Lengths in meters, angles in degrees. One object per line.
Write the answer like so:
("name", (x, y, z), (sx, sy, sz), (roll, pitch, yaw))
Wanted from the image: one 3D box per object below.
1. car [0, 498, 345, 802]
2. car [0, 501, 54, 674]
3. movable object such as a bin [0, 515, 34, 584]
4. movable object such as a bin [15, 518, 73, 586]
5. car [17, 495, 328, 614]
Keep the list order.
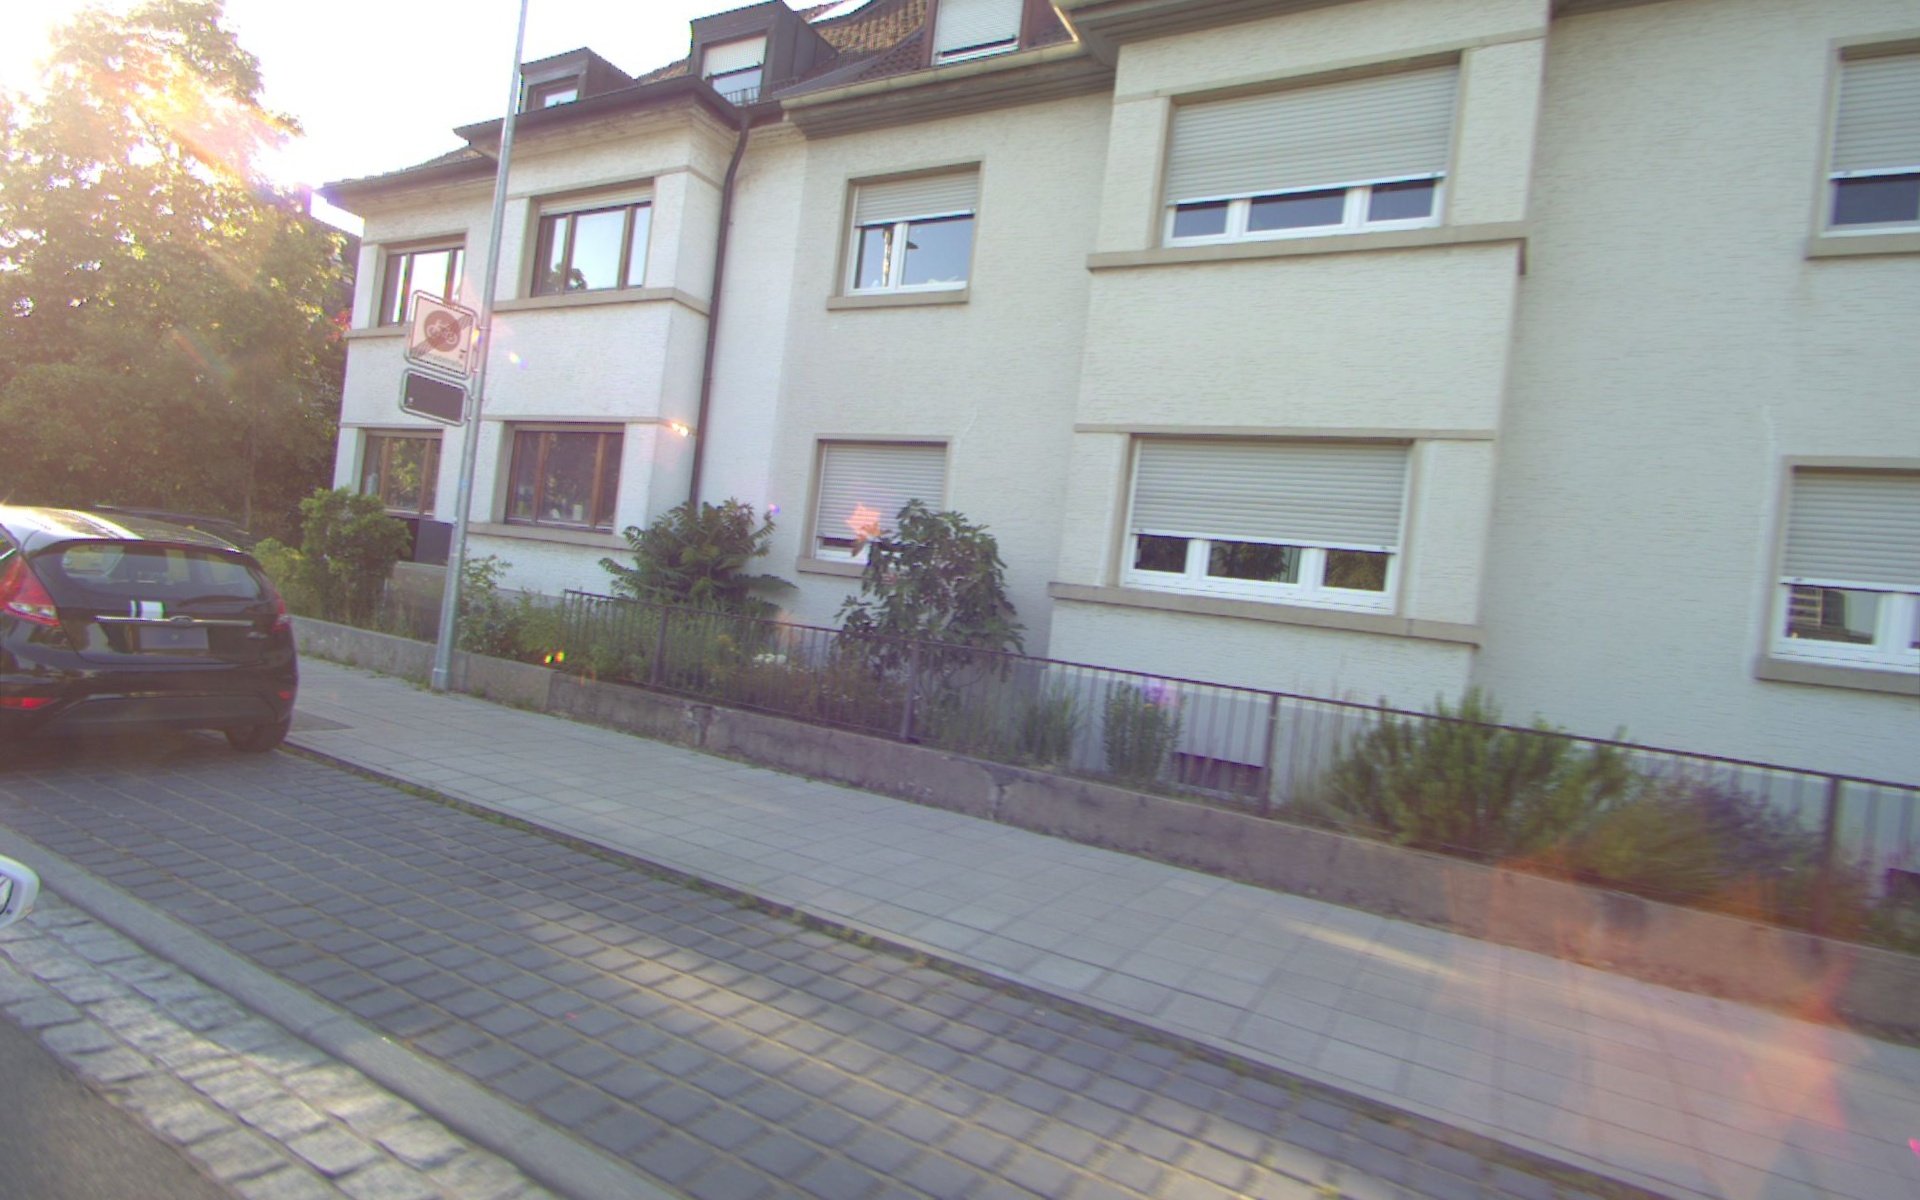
("car", (-6.160, 0.117, 6.745), (3.915, 1.491, 1.720), (7, 2, 29))
("car", (-10.388, -0.355, 9.215), (4.182, 1.492, 1.750), (6, -1, 29))
("movable object such as a bin", (-15.675, -0.847, 16.427), (0.647, 1.055, 0.509), (7, 0, 24))
("movable object such as a bin", (-15.398, -0.801, 16.910), (0.409, 1.055, 0.509), (7, 0, 24))
("car", (-12.995, -0.691, 16.819), (1.751, 1.515, 3.638), (7, 1, 30))
